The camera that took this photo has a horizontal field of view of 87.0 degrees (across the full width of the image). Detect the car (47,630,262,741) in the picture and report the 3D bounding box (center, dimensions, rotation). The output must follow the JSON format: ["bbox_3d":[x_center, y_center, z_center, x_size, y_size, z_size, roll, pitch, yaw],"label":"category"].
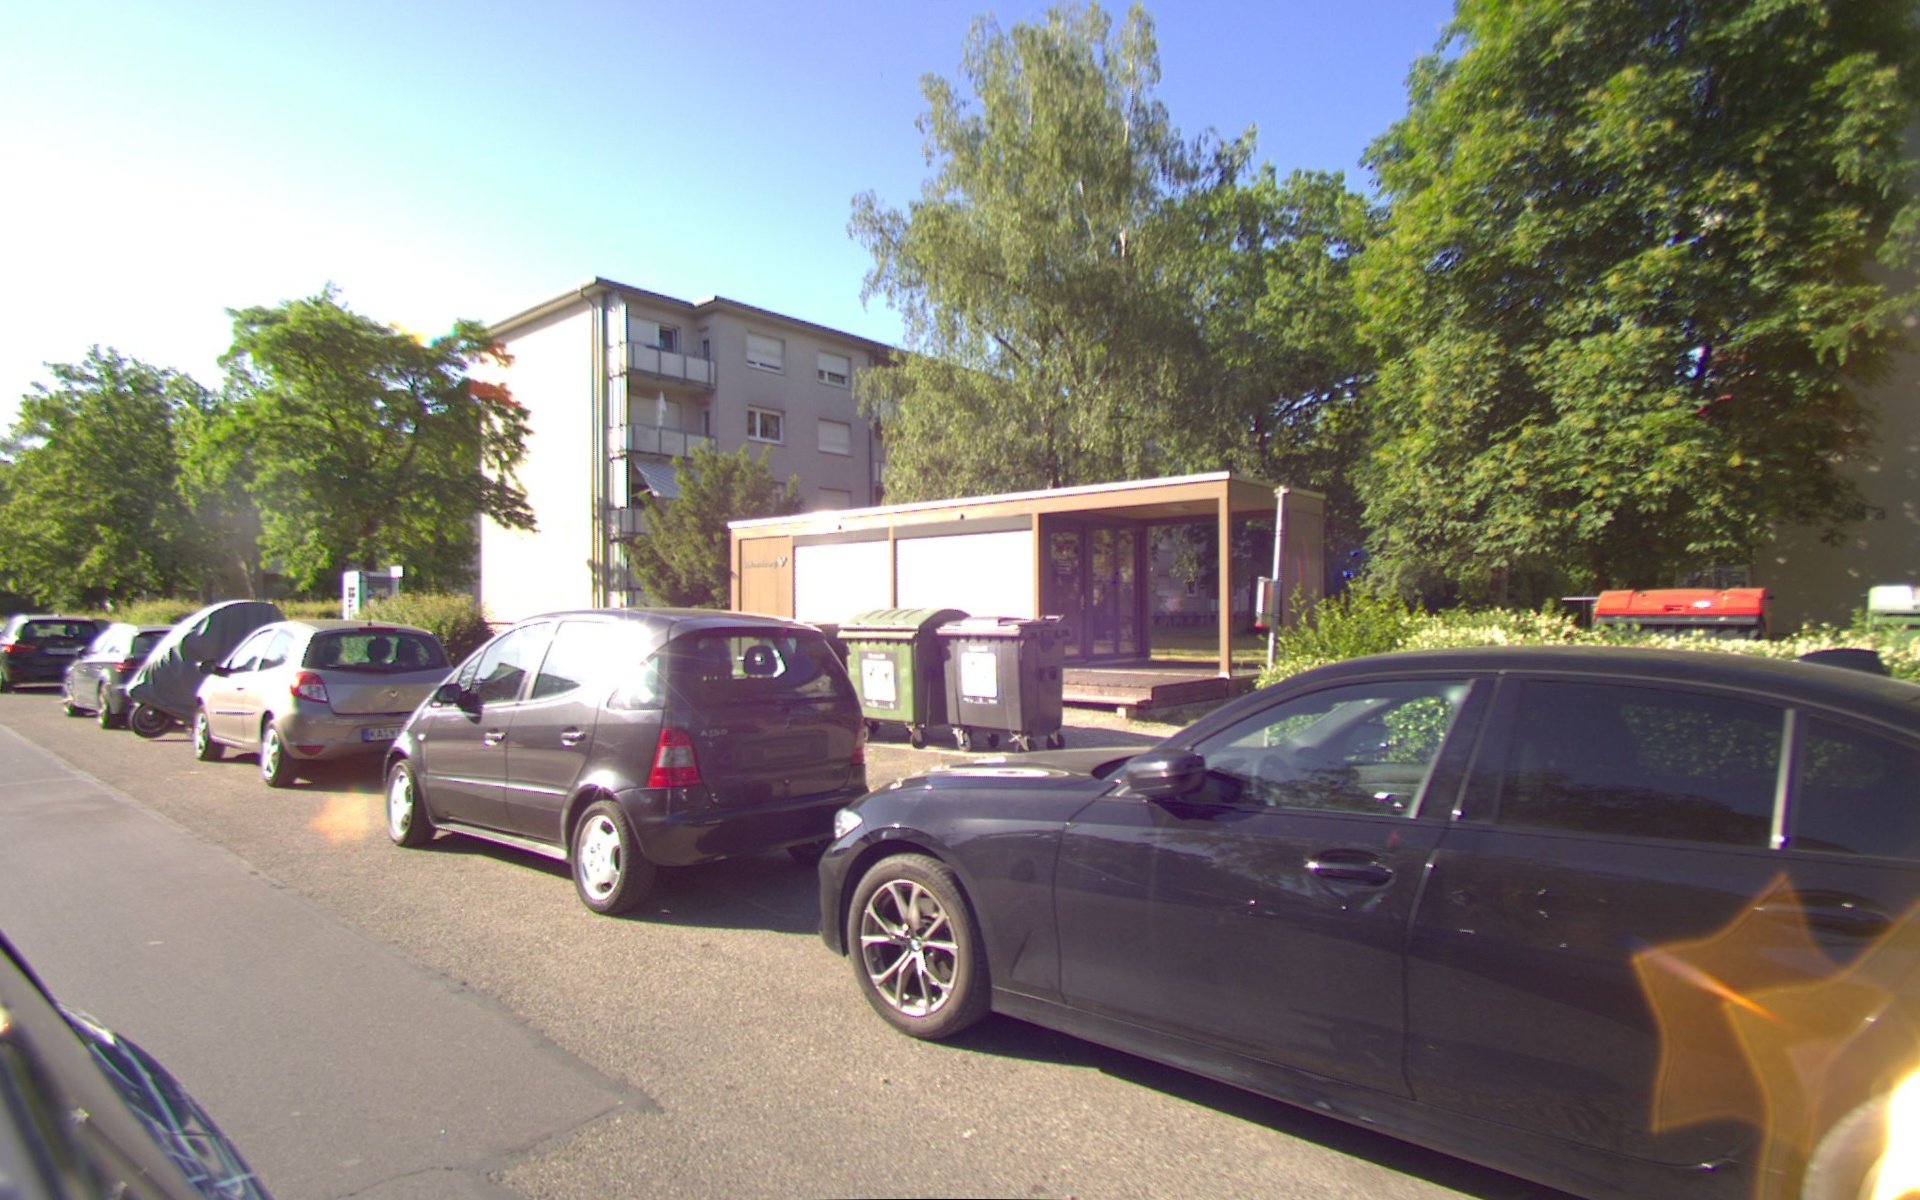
[{"bbox_3d":[-12.202,1.187,15.237,4.266,1.432,1.736,-1,-3,41],"label":"car"}]

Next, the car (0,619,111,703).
[{"bbox_3d":[-20.145,1.282,22.098,4.368,1.648,1.736,-1,-3,41],"label":"car"}]

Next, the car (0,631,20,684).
[{"bbox_3d":[-29.570,1.683,30.255,4.900,1.501,1.735,-2,-5,43],"label":"car"}]

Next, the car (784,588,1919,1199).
[{"bbox_3d":[1.615,0.776,3.148,4.533,1.492,1.736,-1,-3,40],"label":"car"}]

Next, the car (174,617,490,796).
[{"bbox_3d":[-6.606,0.964,10.477,3.958,1.492,1.735,-2,-3,42],"label":"car"}]

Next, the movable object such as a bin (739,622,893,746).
[{"bbox_3d":[-1.670,0.920,11.710,1.342,1.297,1.165,-2,-1,41],"label":"movable object such as a bin"}]

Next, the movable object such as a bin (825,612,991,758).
[{"bbox_3d":[-0.561,0.855,10.869,1.342,1.418,1.165,-2,-1,41],"label":"movable object such as a bin"}]

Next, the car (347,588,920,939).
[{"bbox_3d":[-2.220,0.807,6.467,3.716,1.586,1.736,-1,-3,39],"label":"car"}]

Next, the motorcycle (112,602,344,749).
[{"bbox_3d":[-9.509,0.960,13.250,0.931,1.740,2.234,-1,-4,38],"label":"motorcycle"}]

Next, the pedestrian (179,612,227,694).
[{"bbox_3d":[-16.187,1.120,21.639,0.616,1.692,0.713,-2,-1,41],"label":"pedestrian"}]

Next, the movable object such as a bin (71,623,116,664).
[{"bbox_3d":[-31.811,1.591,37.156,1.325,1.425,0.992,-1,2,39],"label":"movable object such as a bin"}]

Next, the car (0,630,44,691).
[{"bbox_3d":[-25.045,1.510,26.085,4.210,1.436,1.735,-1,-3,43],"label":"car"}]

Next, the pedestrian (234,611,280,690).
[{"bbox_3d":[-15.503,1.106,22.324,0.599,1.692,0.713,-2,-1,41],"label":"pedestrian"}]

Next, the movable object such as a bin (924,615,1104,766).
[{"bbox_3d":[0.534,0.836,10.052,1.343,1.350,1.165,-2,-1,42],"label":"movable object such as a bin"}]
